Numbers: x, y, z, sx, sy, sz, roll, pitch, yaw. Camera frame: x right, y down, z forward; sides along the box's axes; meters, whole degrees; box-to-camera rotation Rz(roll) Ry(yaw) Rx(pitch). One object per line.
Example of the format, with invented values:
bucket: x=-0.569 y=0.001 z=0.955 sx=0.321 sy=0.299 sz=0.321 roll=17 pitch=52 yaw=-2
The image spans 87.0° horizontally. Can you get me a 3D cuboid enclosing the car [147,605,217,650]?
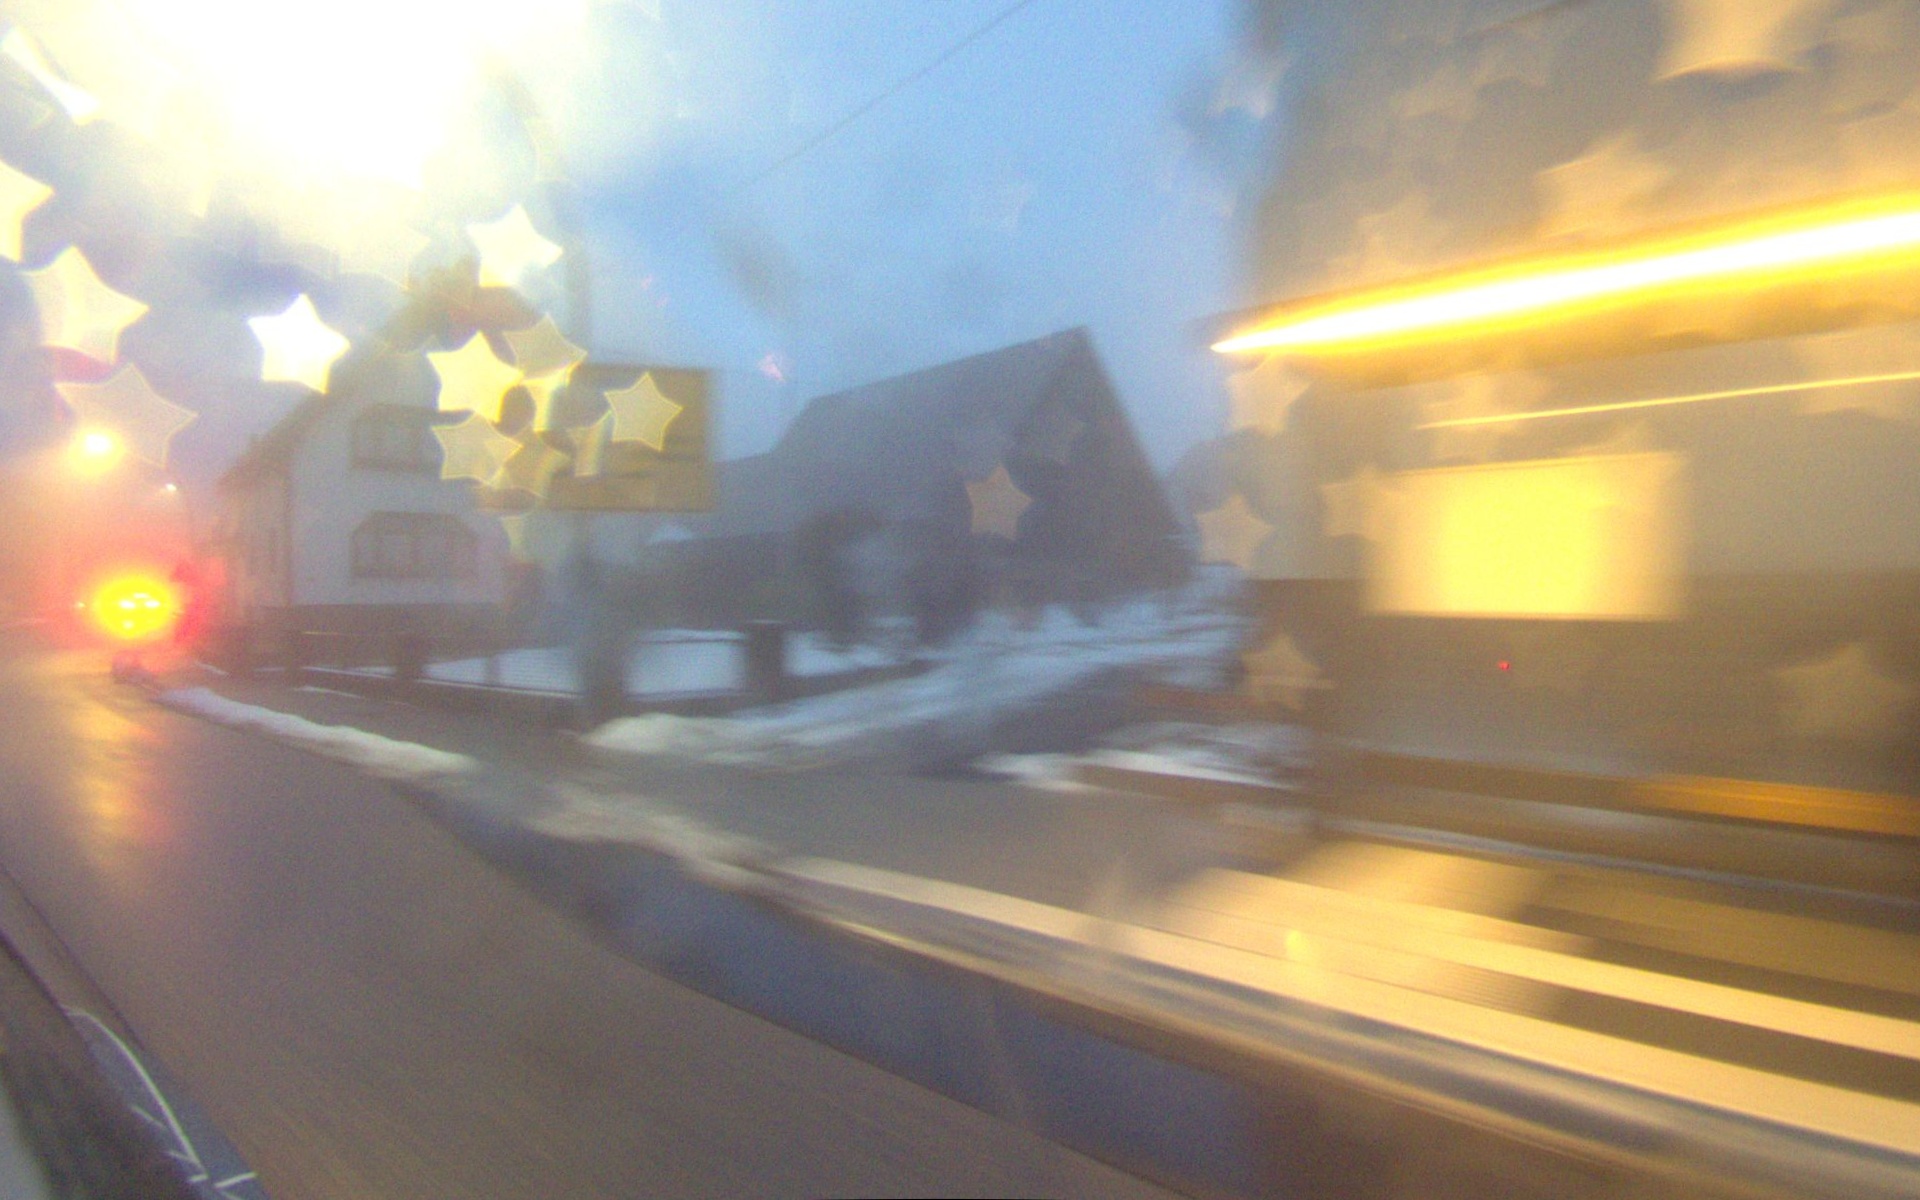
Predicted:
car: x=-29.904 y=1.003 z=38.909 sx=1.968 sy=1.534 sz=4.199 roll=-4 pitch=2 yaw=-38

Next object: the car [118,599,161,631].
car: x=-50.889 y=0.882 z=62.837 sx=1.816 sy=1.700 sz=4.489 roll=-1 pitch=3 yaw=-36

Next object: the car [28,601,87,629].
car: x=-53.923 y=0.854 z=60.524 sx=1.884 sy=1.492 sz=4.295 roll=-1 pitch=2 yaw=-32
